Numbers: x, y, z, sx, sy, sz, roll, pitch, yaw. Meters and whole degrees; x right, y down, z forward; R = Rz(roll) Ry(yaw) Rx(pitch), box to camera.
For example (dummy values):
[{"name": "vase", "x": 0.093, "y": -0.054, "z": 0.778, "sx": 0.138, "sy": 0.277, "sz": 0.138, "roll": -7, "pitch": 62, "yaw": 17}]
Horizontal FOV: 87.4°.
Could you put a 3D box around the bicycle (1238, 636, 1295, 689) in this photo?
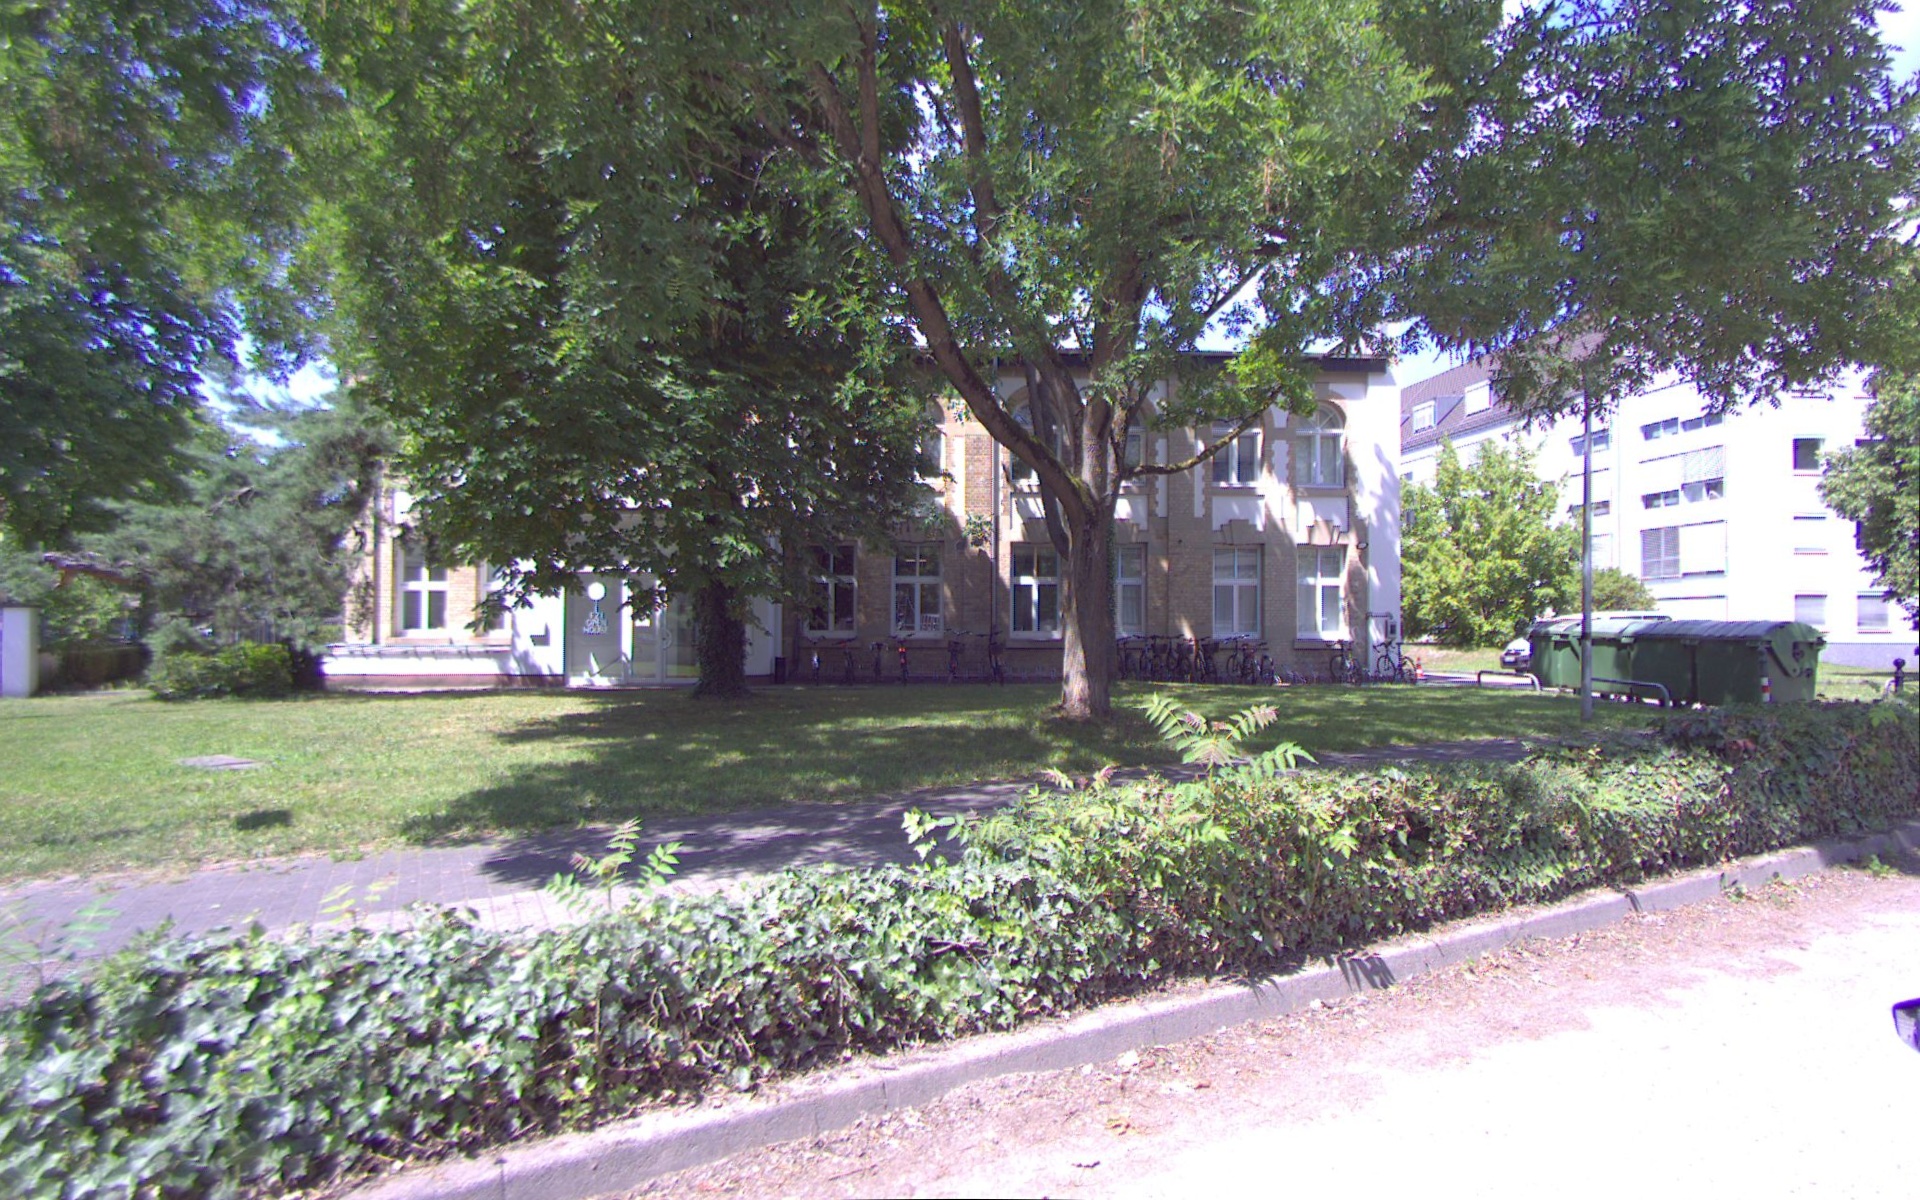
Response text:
[{"name": "bicycle", "x": 6.986, "y": 1.398, "z": 22.983, "sx": 0.595, "sy": 1.096, "sz": 2.260, "roll": 0, "pitch": -1, "yaw": 0}]

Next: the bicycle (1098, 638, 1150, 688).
[{"name": "bicycle", "x": 3.685, "y": 1.389, "z": 22.704, "sx": 0.596, "sy": 1.025, "sz": 2.258, "roll": 0, "pitch": -1, "yaw": -6}]

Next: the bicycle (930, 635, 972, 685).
[{"name": "bicycle", "x": -0.232, "y": 1.322, "z": 22.651, "sx": 0.596, "sy": 1.025, "sz": 2.256, "roll": 0, "pitch": -1, "yaw": -10}]

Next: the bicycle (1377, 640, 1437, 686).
[{"name": "bicycle", "x": 10.307, "y": 1.433, "z": 23.212, "sx": 0.601, "sy": 0.971, "sz": 1.730, "roll": 0, "pitch": -1, "yaw": 0}]

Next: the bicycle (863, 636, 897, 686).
[{"name": "bicycle", "x": -1.817, "y": 1.338, "z": 22.533, "sx": 0.560, "sy": 1.025, "sz": 2.256, "roll": 0, "pitch": -1, "yaw": -10}]

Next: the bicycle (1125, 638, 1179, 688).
[{"name": "bicycle", "x": 4.320, "y": 1.395, "z": 22.769, "sx": 0.596, "sy": 1.025, "sz": 2.258, "roll": 0, "pitch": -1, "yaw": -6}]

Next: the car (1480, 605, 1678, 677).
[{"name": "car", "x": 18.355, "y": 1.218, "z": 29.932, "sx": 4.682, "sy": 2.040, "sz": 2.000, "roll": 0, "pitch": -2, "yaw": -2}]

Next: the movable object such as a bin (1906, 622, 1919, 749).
[{"name": "movable object such as a bin", "x": 11.141, "y": 0.943, "z": 10.746, "sx": 1.094, "sy": 1.412, "sz": 1.160, "roll": -1, "pitch": -1, "yaw": 21}]

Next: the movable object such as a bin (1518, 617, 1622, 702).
[{"name": "movable object such as a bin", "x": 11.246, "y": 1.068, "z": 18.575, "sx": 1.027, "sy": 1.499, "sz": 1.410, "roll": 0, "pitch": -1, "yaw": -2}]

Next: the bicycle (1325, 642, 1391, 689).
[{"name": "bicycle", "x": 9.087, "y": 1.484, "z": 23.026, "sx": 0.595, "sy": 0.971, "sz": 2.260, "roll": 0, "pitch": -1, "yaw": 0}]

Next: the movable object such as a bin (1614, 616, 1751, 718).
[{"name": "movable object such as a bin", "x": 11.221, "y": 1.013, "z": 15.660, "sx": 1.077, "sy": 1.499, "sz": 1.357, "roll": 0, "pitch": -1, "yaw": -13}]

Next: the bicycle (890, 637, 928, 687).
[{"name": "bicycle", "x": -1.158, "y": 1.365, "z": 22.564, "sx": 0.596, "sy": 1.025, "sz": 2.256, "roll": 0, "pitch": -1, "yaw": -10}]

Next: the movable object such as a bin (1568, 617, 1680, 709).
[{"name": "movable object such as a bin", "x": 11.260, "y": 1.040, "z": 17.083, "sx": 1.027, "sy": 1.499, "sz": 1.262, "roll": 0, "pitch": -1, "yaw": -2}]

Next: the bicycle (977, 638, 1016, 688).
[{"name": "bicycle", "x": 0.805, "y": 1.394, "z": 22.699, "sx": 0.596, "sy": 1.025, "sz": 2.258, "roll": 0, "pitch": -1, "yaw": -6}]

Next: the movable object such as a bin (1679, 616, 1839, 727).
[{"name": "movable object such as a bin", "x": 11.361, "y": 0.988, "z": 14.341, "sx": 1.185, "sy": 1.499, "sz": 1.324, "roll": 0, "pitch": -1, "yaw": -5}]

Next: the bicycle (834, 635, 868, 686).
[{"name": "bicycle", "x": -2.455, "y": 1.323, "z": 22.440, "sx": 0.621, "sy": 1.025, "sz": 2.256, "roll": 0, "pitch": -1, "yaw": -10}]

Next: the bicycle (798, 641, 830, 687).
[{"name": "bicycle", "x": -3.227, "y": 1.388, "z": 22.150, "sx": 0.644, "sy": 0.902, "sz": 2.256, "roll": 0, "pitch": -1, "yaw": -10}]

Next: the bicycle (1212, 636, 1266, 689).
[{"name": "bicycle", "x": 6.356, "y": 1.398, "z": 23.000, "sx": 0.595, "sy": 1.096, "sz": 2.260, "roll": 0, "pitch": -1, "yaw": 0}]

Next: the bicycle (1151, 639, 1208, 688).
[{"name": "bicycle", "x": 4.971, "y": 1.414, "z": 22.870, "sx": 0.596, "sy": 1.025, "sz": 2.258, "roll": 0, "pitch": -1, "yaw": -6}]

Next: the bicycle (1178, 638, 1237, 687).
[{"name": "bicycle", "x": 5.615, "y": 1.401, "z": 22.909, "sx": 0.596, "sy": 1.025, "sz": 2.258, "roll": 0, "pitch": -1, "yaw": -6}]
